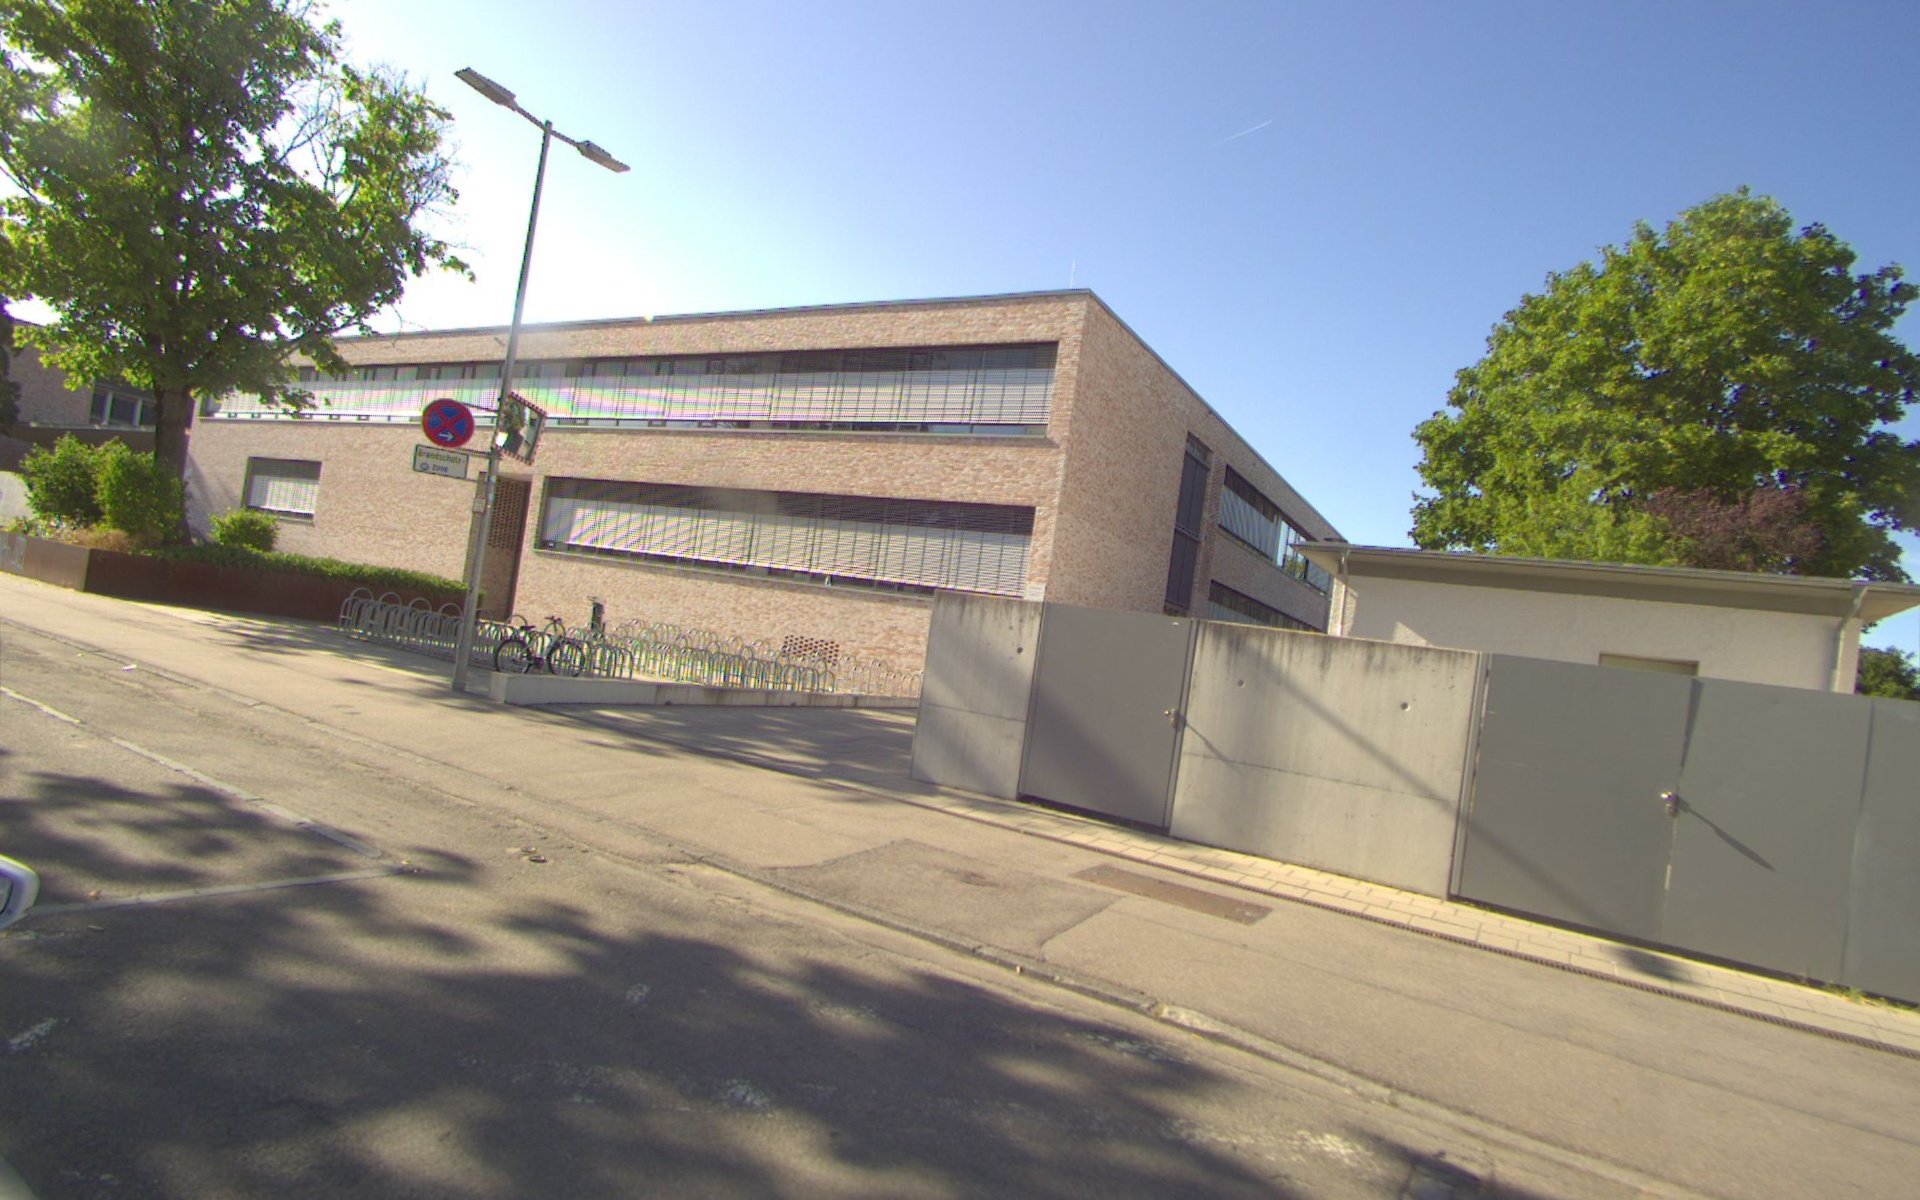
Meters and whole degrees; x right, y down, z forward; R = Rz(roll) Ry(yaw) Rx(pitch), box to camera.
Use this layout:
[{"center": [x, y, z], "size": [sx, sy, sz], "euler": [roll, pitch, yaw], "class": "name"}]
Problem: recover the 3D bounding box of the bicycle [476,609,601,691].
[{"center": [-6.356, 0.779, 15.274], "size": [0.491, 1.040, 1.674], "euler": [7, -4, 30], "class": "bicycle"}]
